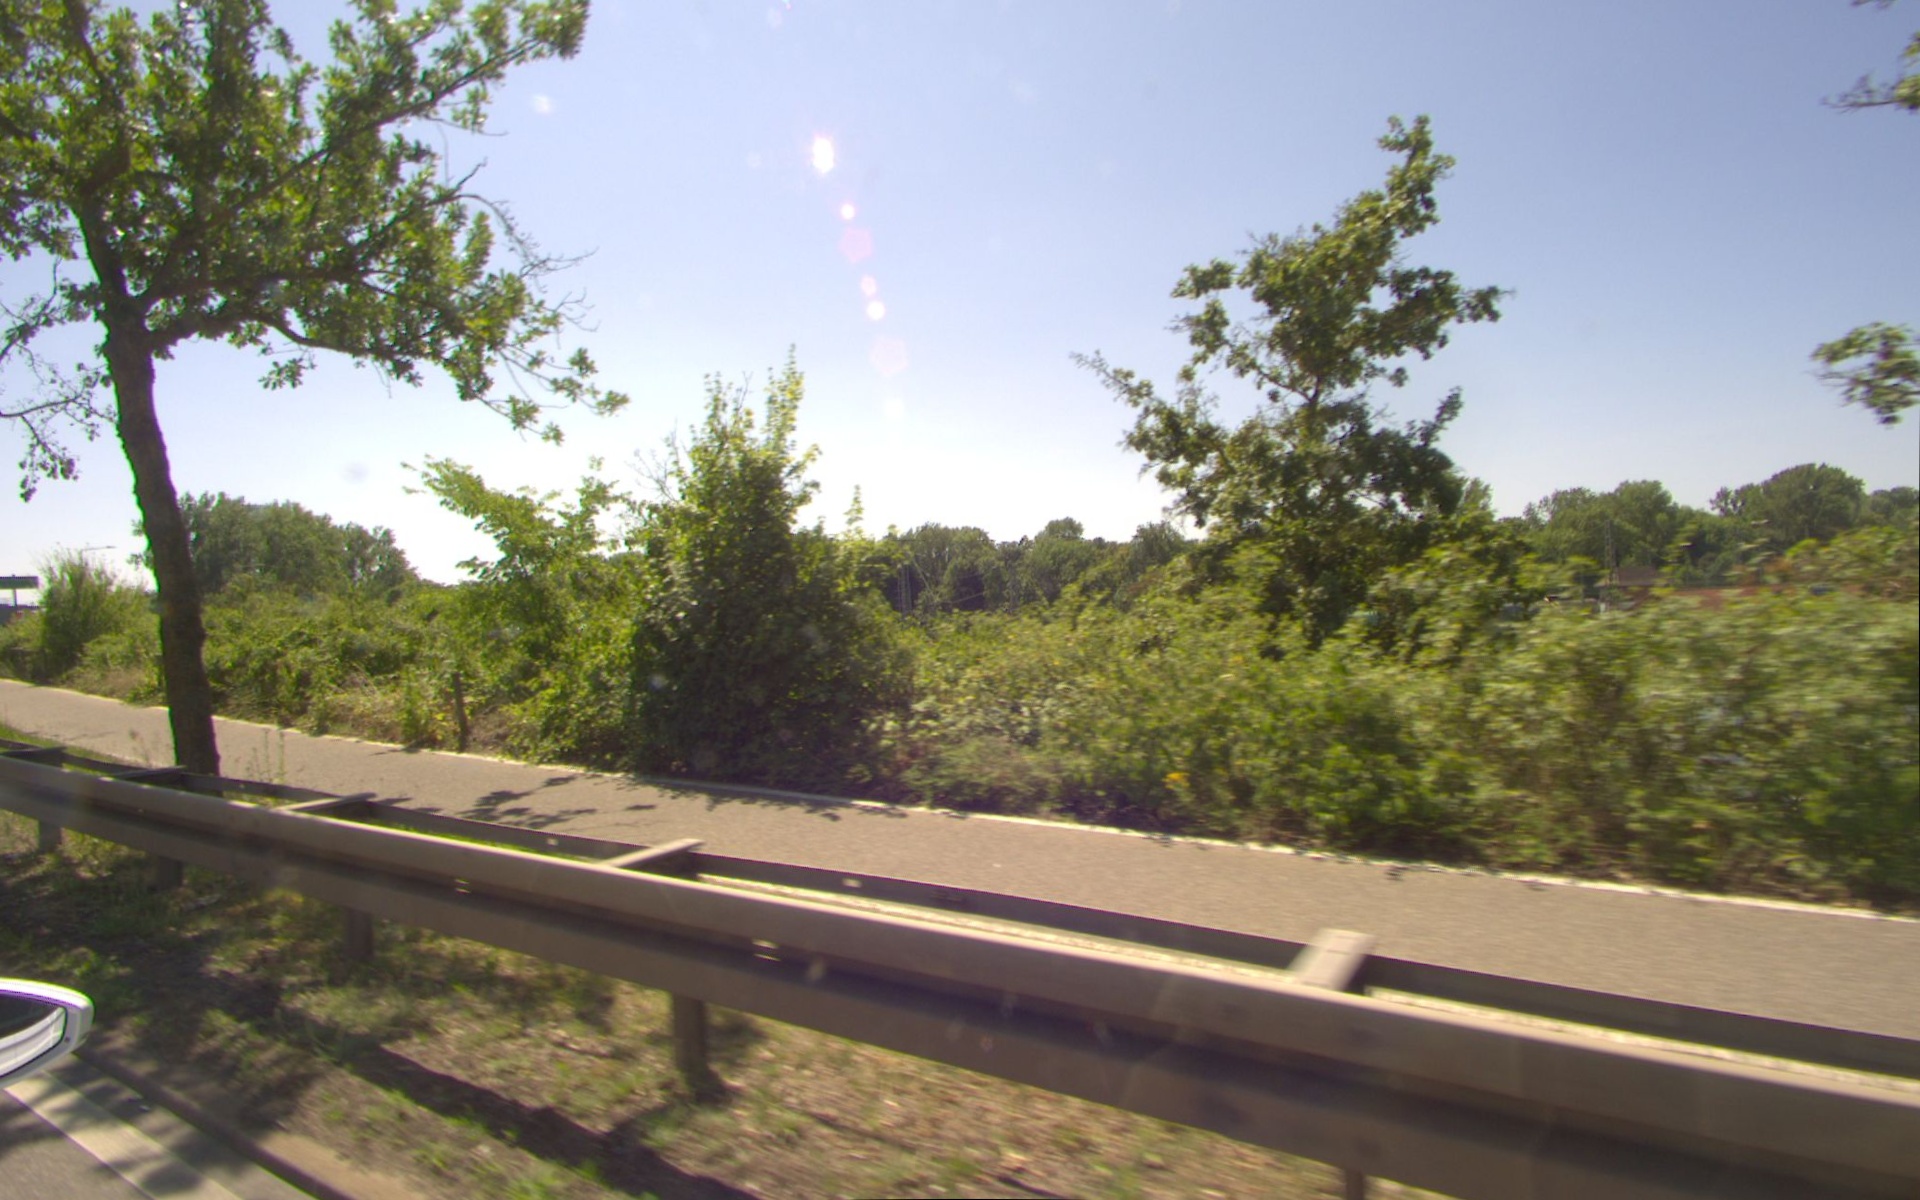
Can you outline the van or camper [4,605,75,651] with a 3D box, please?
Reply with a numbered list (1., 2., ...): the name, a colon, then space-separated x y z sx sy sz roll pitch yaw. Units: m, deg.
1. van or camper: -56.851 1.711 61.959 2.180 2.746 5.890 0 -1 -33
